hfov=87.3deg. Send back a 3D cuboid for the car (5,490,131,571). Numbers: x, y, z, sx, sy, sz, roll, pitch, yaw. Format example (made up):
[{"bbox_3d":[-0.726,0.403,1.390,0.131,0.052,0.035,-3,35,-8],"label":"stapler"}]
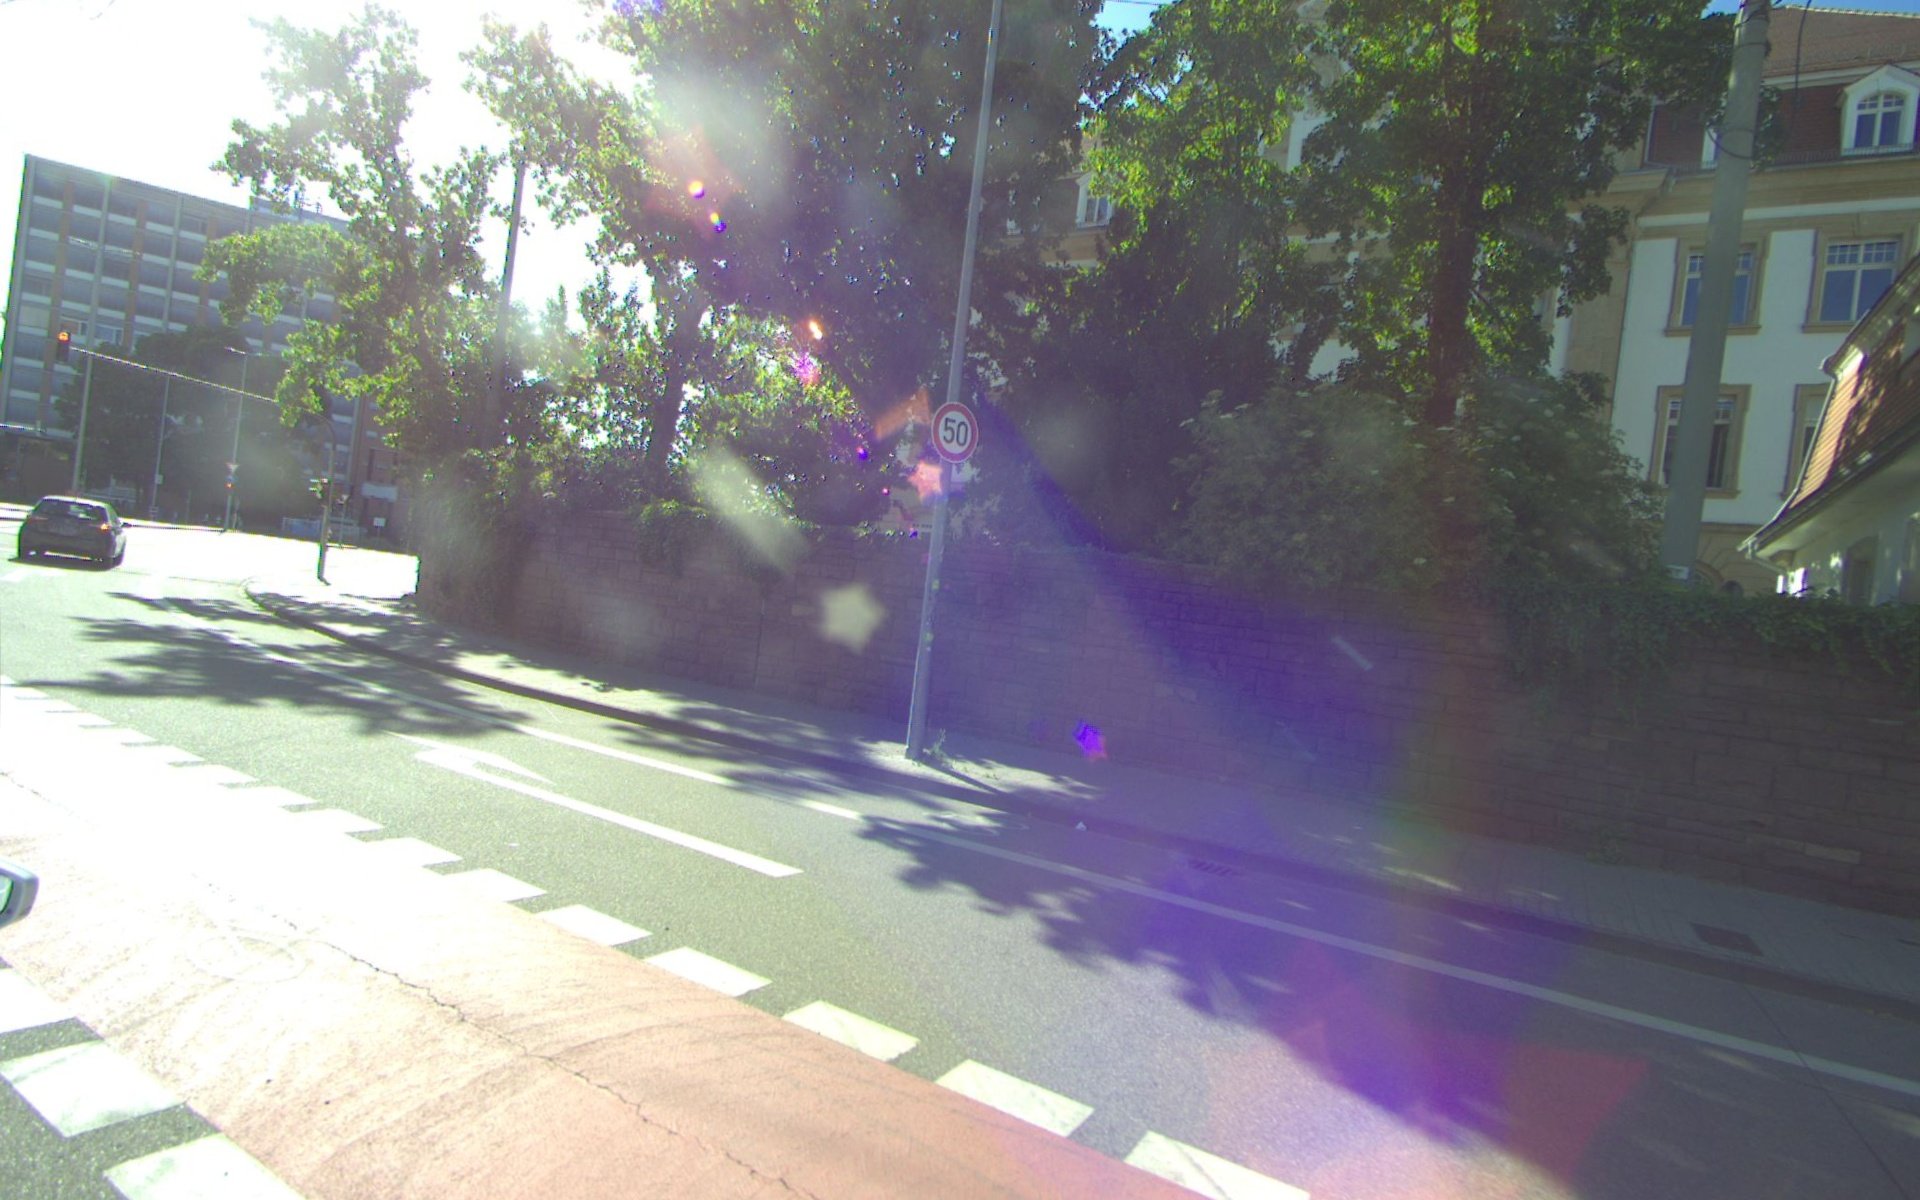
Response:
[{"bbox_3d":[-21.396,-1.668,24.279,1.780,1.529,3.675,9,-2,-36],"label":"car"}]
